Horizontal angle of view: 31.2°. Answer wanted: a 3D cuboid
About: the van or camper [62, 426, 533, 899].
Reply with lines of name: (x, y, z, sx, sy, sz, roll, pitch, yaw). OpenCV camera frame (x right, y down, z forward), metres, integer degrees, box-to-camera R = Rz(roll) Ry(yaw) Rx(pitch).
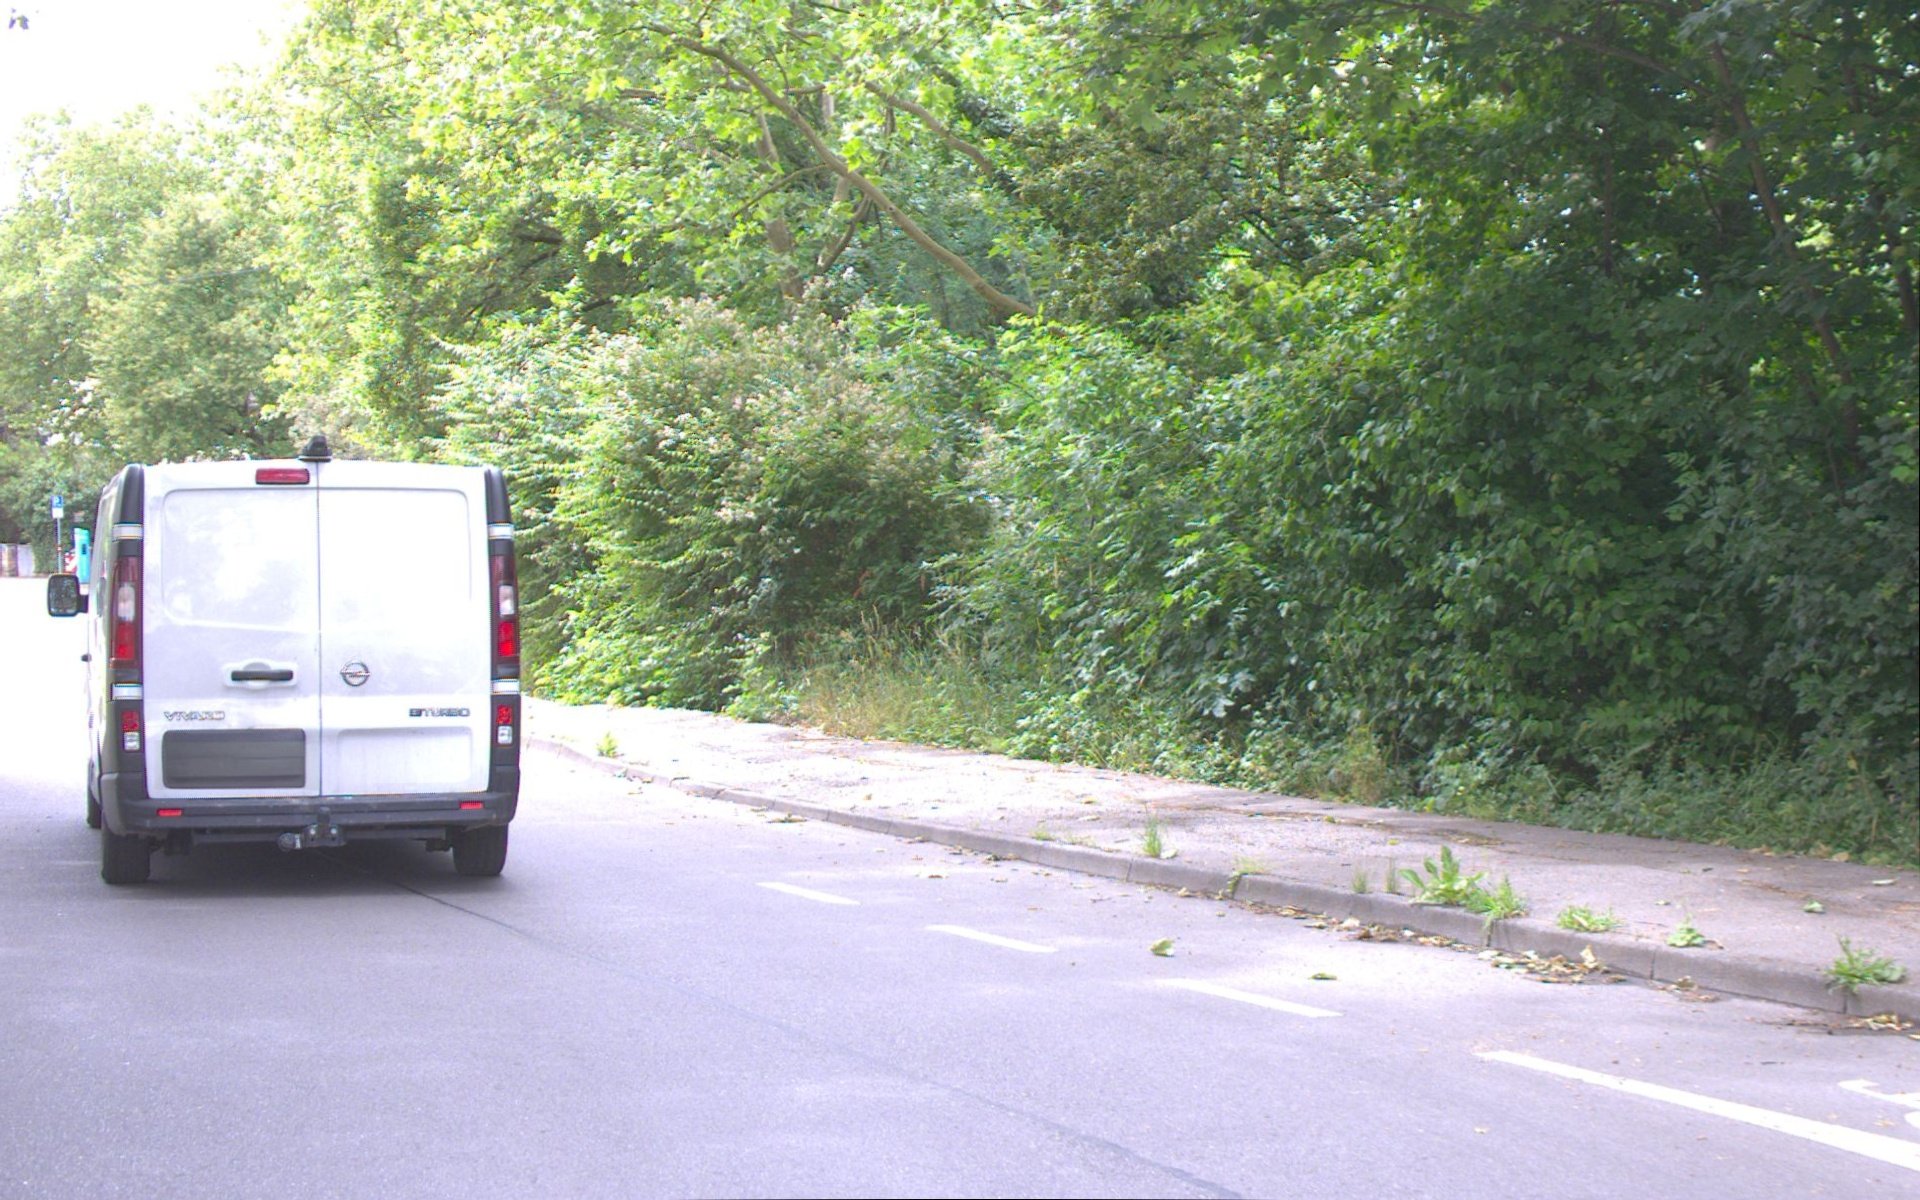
van or camper: (-3.460, 0.139, 17.242, 1.923, 2.006, 4.831, -1, 3, -15)
